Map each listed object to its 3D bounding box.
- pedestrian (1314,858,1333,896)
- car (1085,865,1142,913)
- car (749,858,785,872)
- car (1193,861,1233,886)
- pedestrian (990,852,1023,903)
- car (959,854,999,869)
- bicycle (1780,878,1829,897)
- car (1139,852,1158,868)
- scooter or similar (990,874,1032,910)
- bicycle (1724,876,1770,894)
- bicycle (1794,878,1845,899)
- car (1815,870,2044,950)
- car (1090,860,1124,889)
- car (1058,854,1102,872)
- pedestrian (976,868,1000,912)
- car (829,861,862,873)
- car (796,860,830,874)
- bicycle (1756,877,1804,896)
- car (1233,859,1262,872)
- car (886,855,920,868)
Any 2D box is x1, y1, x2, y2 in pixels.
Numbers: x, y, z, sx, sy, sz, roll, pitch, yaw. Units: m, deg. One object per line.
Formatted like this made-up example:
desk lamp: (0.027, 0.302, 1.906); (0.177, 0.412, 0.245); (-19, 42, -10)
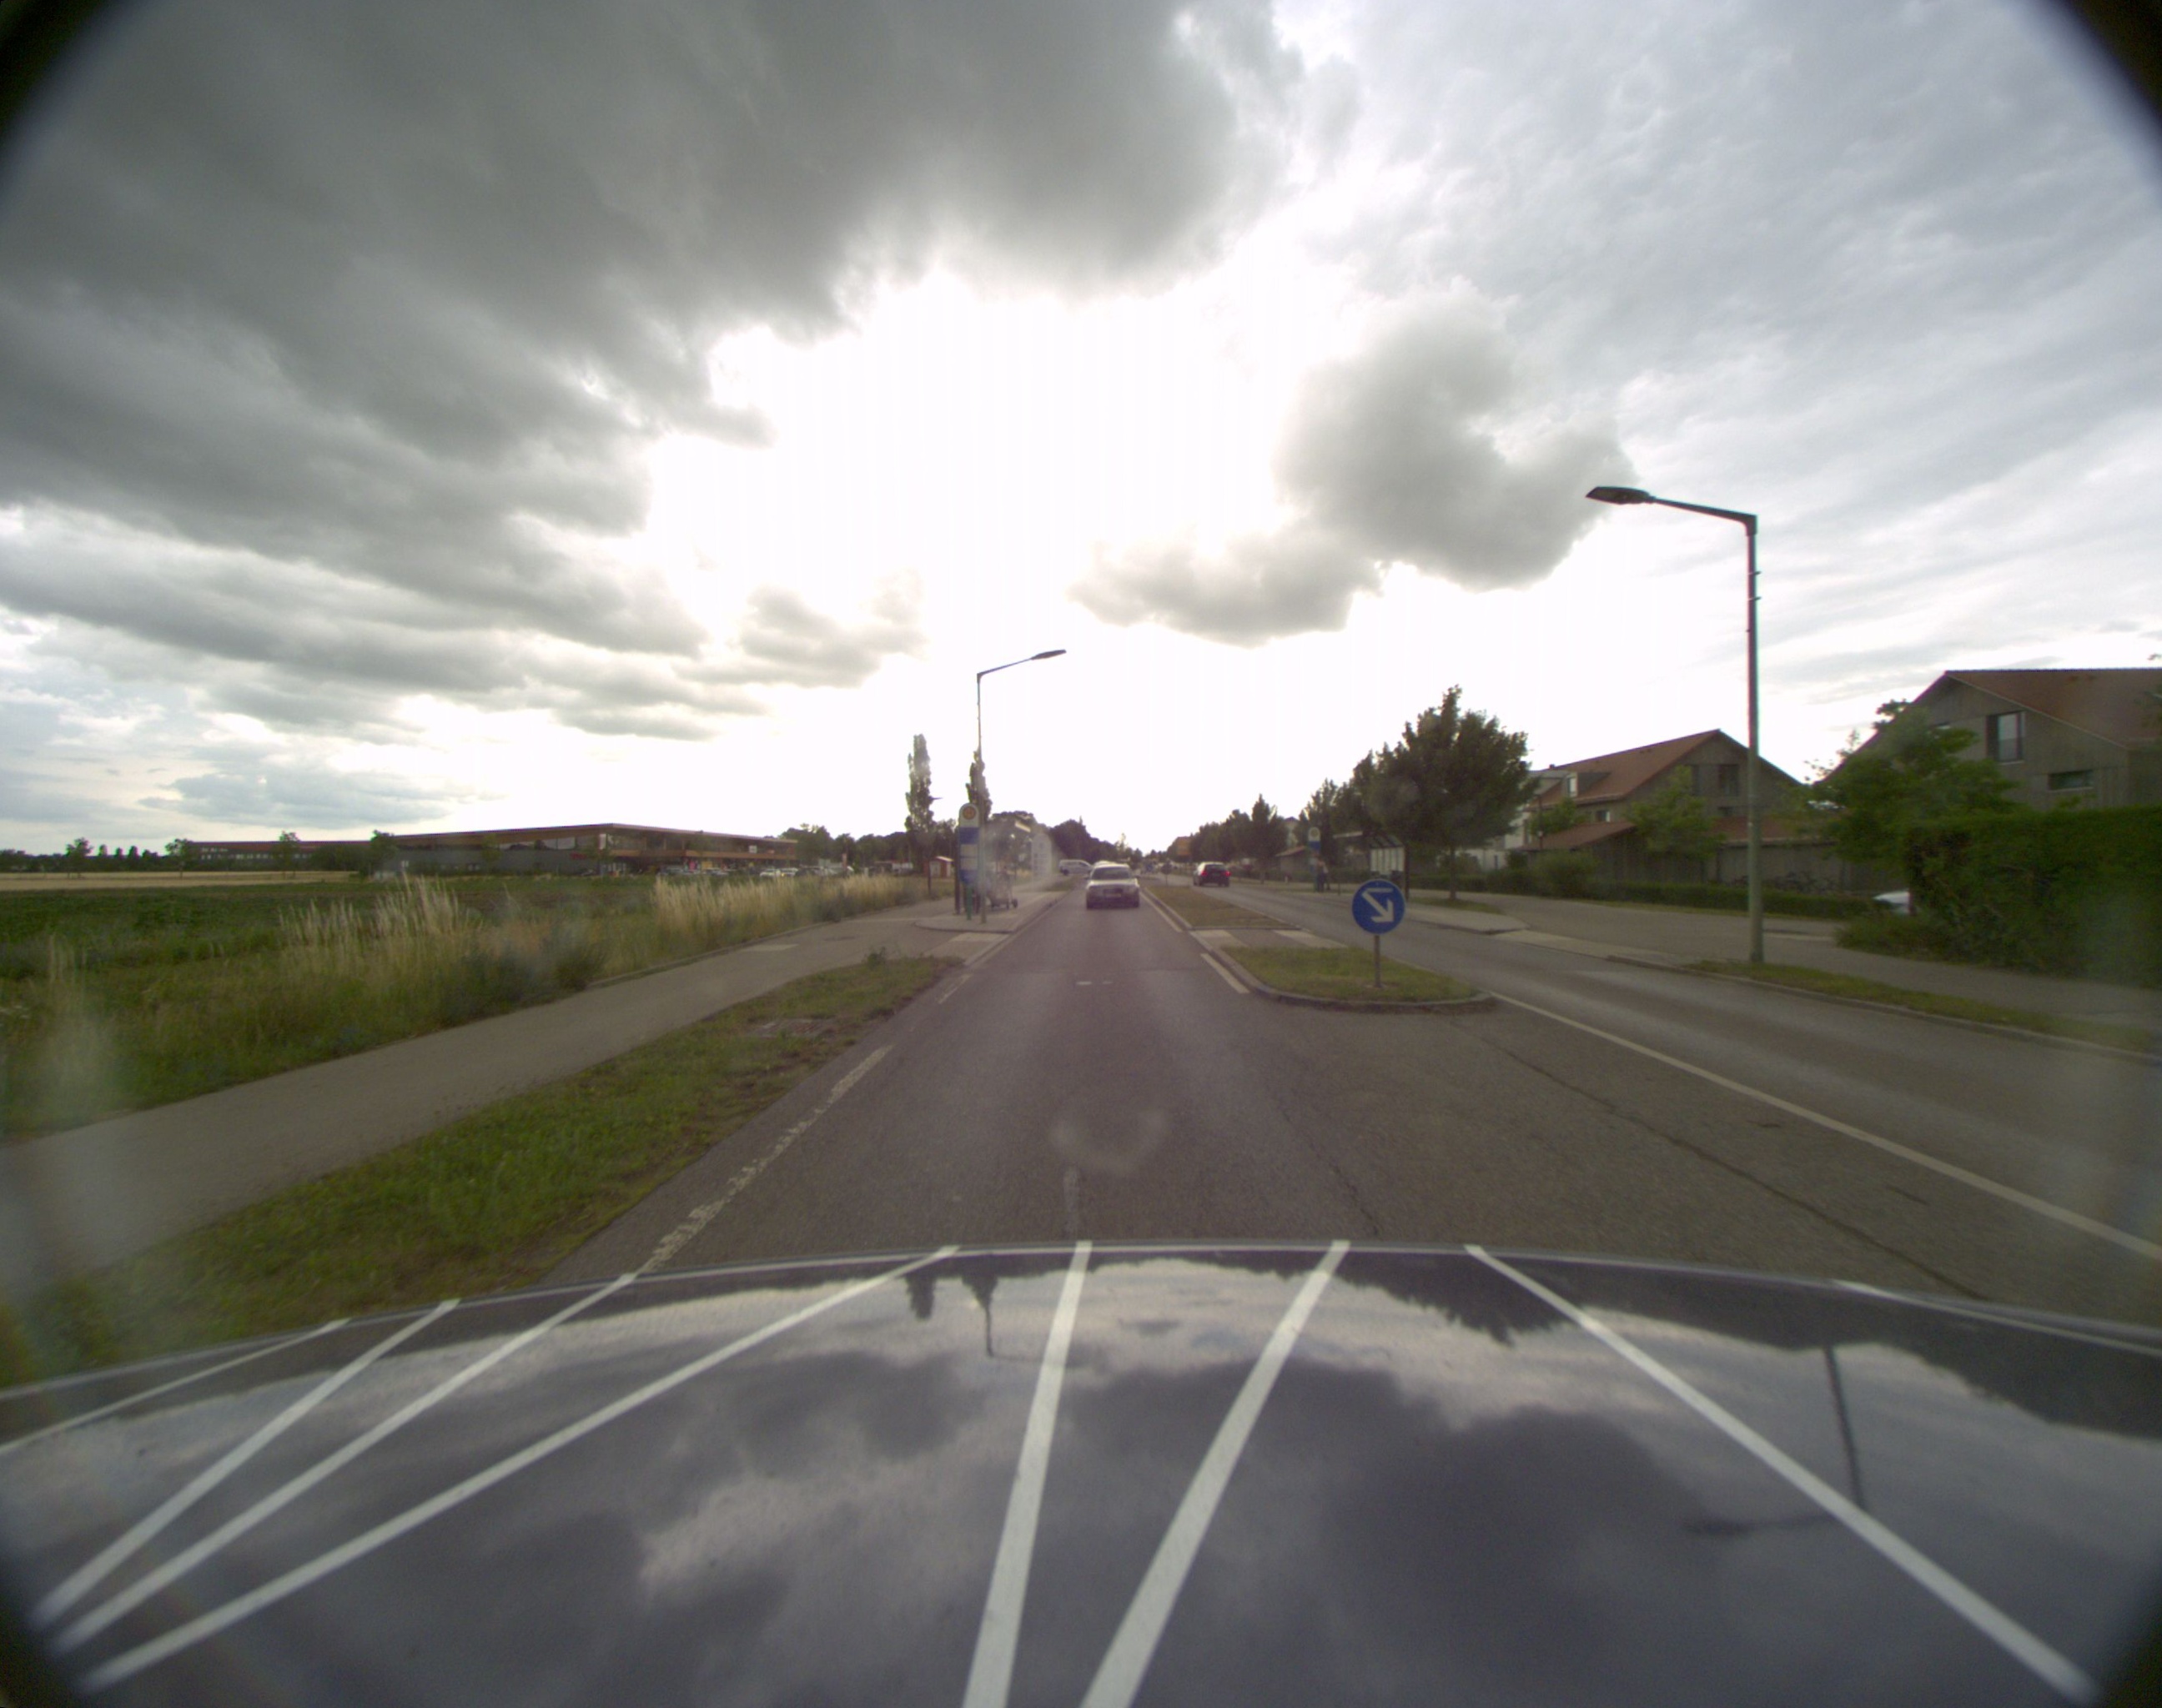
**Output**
pedestrian: (10.586, 0.990, 33.192); (0.589, 1.626, 0.813); (0, 0, 1)
car: (1.106, 1.156, 26.429); (1.763, 1.410, 4.520); (-2, 0, 2)
car: (-50.199, 1.754, 121.545); (4.857, 2.002, 1.999); (-2, 0, -6)
car: (8.176, 1.183, 47.510); (1.925, 1.445, 4.497); (0, 0, 3)
pedestrian: (-2.640, 0.825, 26.970); (0.782, 1.782, 0.780); (-2, 0, 23)
car: (-14.728, 1.102, 110.139); (5.526, 2.002, 1.999); (-2, 0, -5)
bicycle: (34.108, 1.580, 35.825); (1.946, 0.904, 0.419); (0, 0, 0)
car: (9.367, 0.823, 105.772); (2.559, 2.002, 5.319); (-2, 0, 4)
scooter or similar: (-2.165, 1.175, 23.627); (0.707, 1.056, 1.062); (-2, 1, 39)
bicycle: (34.116, 1.593, 38.920); (1.946, 0.904, 0.419); (0, 0, 0)
bicycle: (34.069, 1.584, 35.037); (1.946, 0.904, 0.419); (0, 0, 0)
car: (22.944, 1.470, 20.676); (3.997, 2.002, 2.000); (0, 0, 0)
car: (1.475, 1.115, 43.600); (1.763, 1.495, 4.691); (-2, 0, 2)
car: (-0.186, 1.094, 94.670); (5.314, 2.002, 1.999); (-2, 0, -2)
pedestrian: (-2.830, 1.089, 23.191); (0.667, 1.295, 0.504); (-2, 0, -5)
car: (-43.372, 2.332, 139.967); (5.526, 2.002, 1.999); (-2, 0, -5)
car: (-44.030, 2.145, 124.890); (4.857, 2.002, 1.999); (-2, 0, -6)
bicycle: (34.137, 1.582, 37.117); (1.946, 0.904, 0.419); (0, 0, 0)
car: (28.214, 1.933, 128.846); (4.567, 2.002, 2.001); (-2, 0, 6)
car: (-31.577, 1.331, 134.743); (5.526, 2.002, 1.999); (-2, 0, -5)
